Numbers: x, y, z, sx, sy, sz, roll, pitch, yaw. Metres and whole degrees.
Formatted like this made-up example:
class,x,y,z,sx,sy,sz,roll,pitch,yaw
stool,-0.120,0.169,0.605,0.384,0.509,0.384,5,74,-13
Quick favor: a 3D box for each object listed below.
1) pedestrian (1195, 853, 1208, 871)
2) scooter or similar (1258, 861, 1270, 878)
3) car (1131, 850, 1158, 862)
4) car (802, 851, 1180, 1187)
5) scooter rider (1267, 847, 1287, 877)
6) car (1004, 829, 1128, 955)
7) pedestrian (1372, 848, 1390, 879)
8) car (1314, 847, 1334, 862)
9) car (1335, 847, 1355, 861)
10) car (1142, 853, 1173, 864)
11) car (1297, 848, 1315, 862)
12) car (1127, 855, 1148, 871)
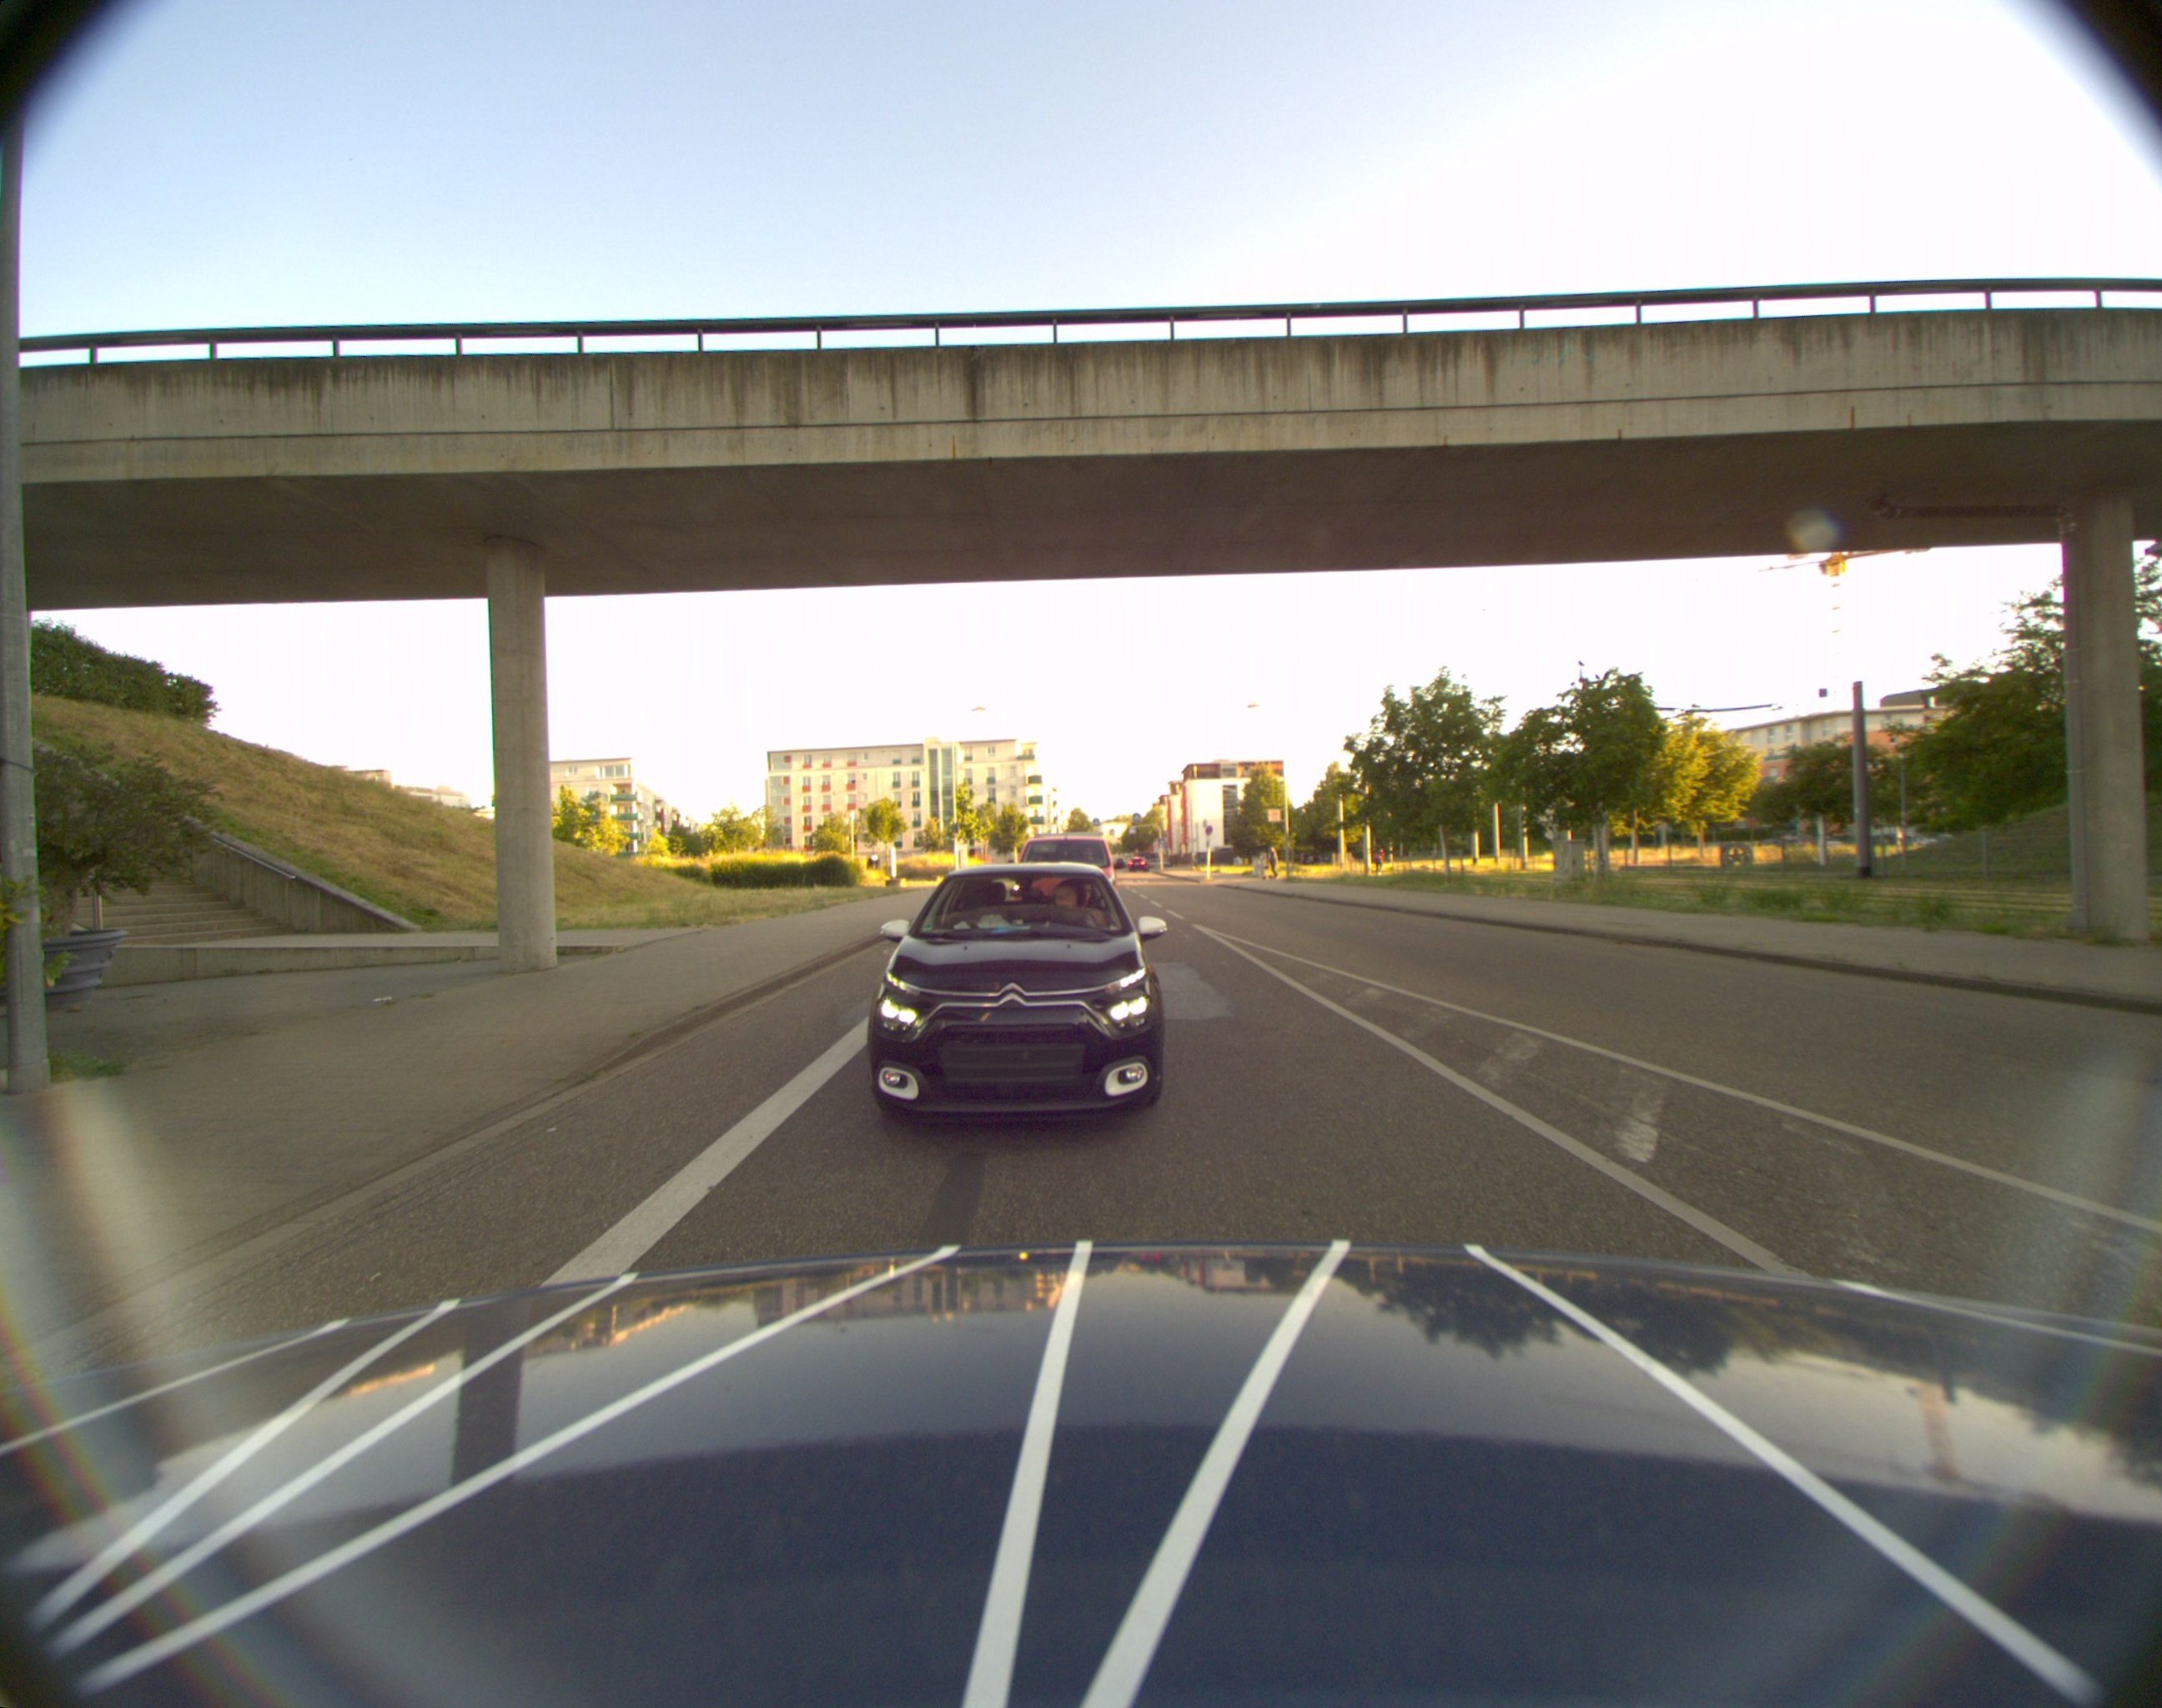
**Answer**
class,x,y,z,sx,sy,sz,roll,pitch,yaw
pedestrian,13.787,0.933,87.100,1.088,2.002,1.141,-2,1,29
scooter or similar,9.688,0.810,40.295,0.552,0.890,0.723,-1,1,10
car,12.007,0.361,144.164,4.745,2.002,1.999,-2,1,-2
car,-0.477,0.798,5.690,1.760,1.543,4.071,-2,0,-2
scooter rider,10.364,0.415,40.183,0.897,1.568,0.712,-2,0,10
car,-0.266,0.632,14.888,1.931,1.979,4.822,-3,0,-1
pedestrian,15.919,0.490,40.285,0.779,1.602,0.417,-2,0,12
car,30.996,0.046,96.844,1.869,1.710,3.848,-2,0,9
car,33.506,-0.047,96.570,1.869,1.710,3.848,-2,0,12
car,11.465,0.658,113.987,4.387,1.550,1.839,-2,1,2
car,28.710,0.136,97.193,1.869,1.710,3.848,-2,0,12
car,6.074,0.958,81.366,1.998,1.554,4.002,-2,0,5
